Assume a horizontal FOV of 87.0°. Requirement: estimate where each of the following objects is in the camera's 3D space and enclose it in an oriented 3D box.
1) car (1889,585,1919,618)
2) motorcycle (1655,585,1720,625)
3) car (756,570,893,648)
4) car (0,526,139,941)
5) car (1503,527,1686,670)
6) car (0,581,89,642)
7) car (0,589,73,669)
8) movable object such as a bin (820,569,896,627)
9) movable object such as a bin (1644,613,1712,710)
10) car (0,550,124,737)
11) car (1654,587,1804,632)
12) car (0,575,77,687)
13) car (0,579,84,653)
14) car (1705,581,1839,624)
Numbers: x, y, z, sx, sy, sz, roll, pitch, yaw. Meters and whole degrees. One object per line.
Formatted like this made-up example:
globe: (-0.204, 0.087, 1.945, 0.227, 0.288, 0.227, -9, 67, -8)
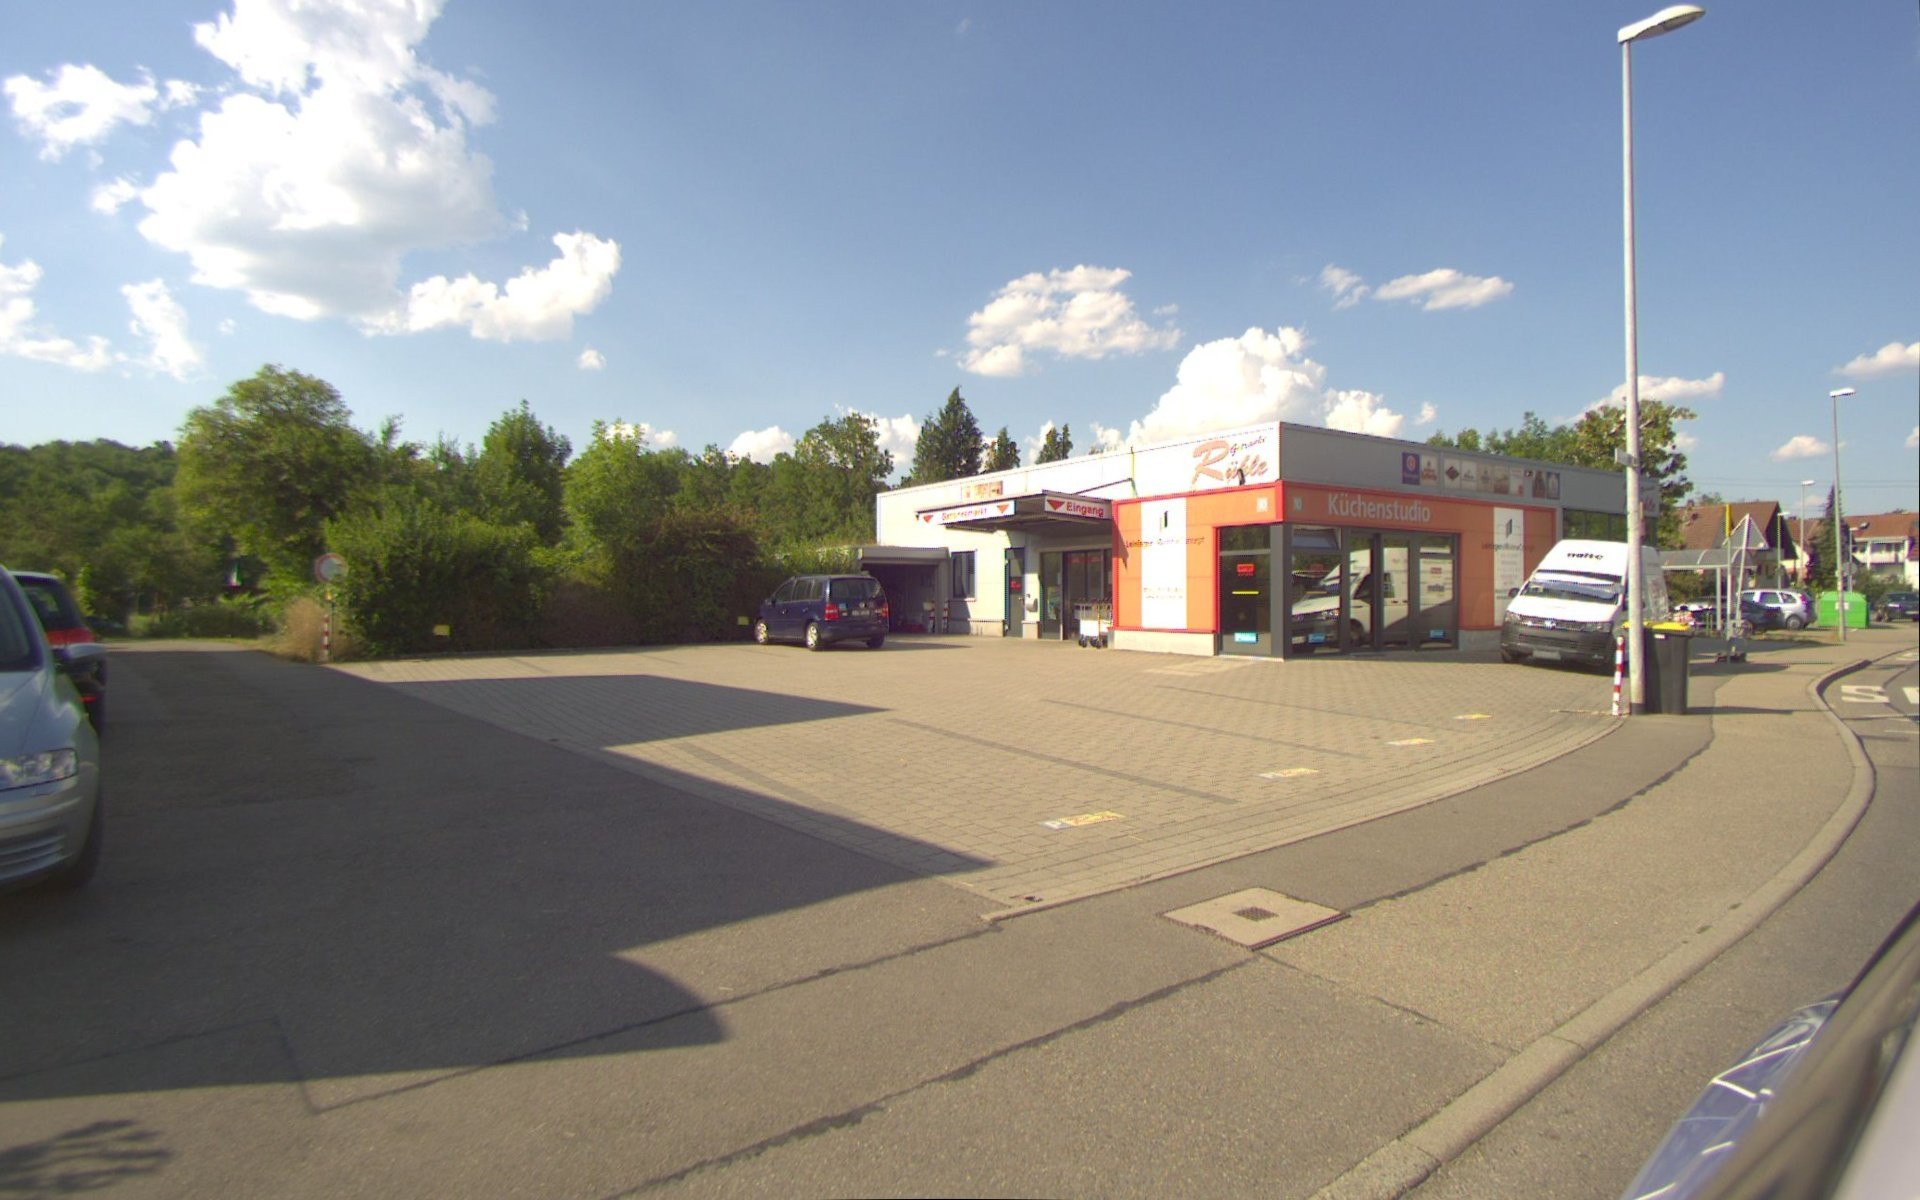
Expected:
car: (51.196, 0.065, 54.129, 1.965, 1.677, 3.943, 2, 2, 39)
motorcycle: (25.843, 0.172, 35.984, 1.817, 1.340, 0.633, 2, 1, 32)
car: (-3.155, 0.142, 23.020, 1.609, 1.615, 3.644, -2, 2, -35)
car: (-5.291, 0.472, 4.866, 3.985, 1.550, 1.504, 1, 1, 42)
car: (12.346, -0.080, 19.521, 1.838, 2.404, 5.094, 4, 3, 45)
car: (-23.199, 0.256, 23.857, 1.663, 1.417, 3.915, 0, -1, 45)
car: (-16.510, 0.458, 17.626, 1.375, 1.278, 3.757, 3, -1, -44)
movable object such as a bin: (-3.106, -0.076, 30.525, 1.153, 1.669, 3.026, 0, 0, -30)
movable object such as a bin: (8.589, 0.716, 12.100, 0.567, 1.088, 0.563, 2, 1, 45)
car: (-9.054, 0.326, 9.356, 1.688, 1.486, 3.907, 3, -1, -44)
car: (27.949, 0.291, 36.871, 1.596, 1.434, 4.075, -1, 2, -38)
car: (-13.709, 0.374, 14.245, 1.688, 1.426, 3.907, 3, -1, -44)
car: (-19.326, 0.273, 19.356, 1.663, 1.417, 3.749, 0, -1, 45)
car: (32.377, 0.054, 40.422, 1.653, 1.623, 3.947, -1, 2, -40)
